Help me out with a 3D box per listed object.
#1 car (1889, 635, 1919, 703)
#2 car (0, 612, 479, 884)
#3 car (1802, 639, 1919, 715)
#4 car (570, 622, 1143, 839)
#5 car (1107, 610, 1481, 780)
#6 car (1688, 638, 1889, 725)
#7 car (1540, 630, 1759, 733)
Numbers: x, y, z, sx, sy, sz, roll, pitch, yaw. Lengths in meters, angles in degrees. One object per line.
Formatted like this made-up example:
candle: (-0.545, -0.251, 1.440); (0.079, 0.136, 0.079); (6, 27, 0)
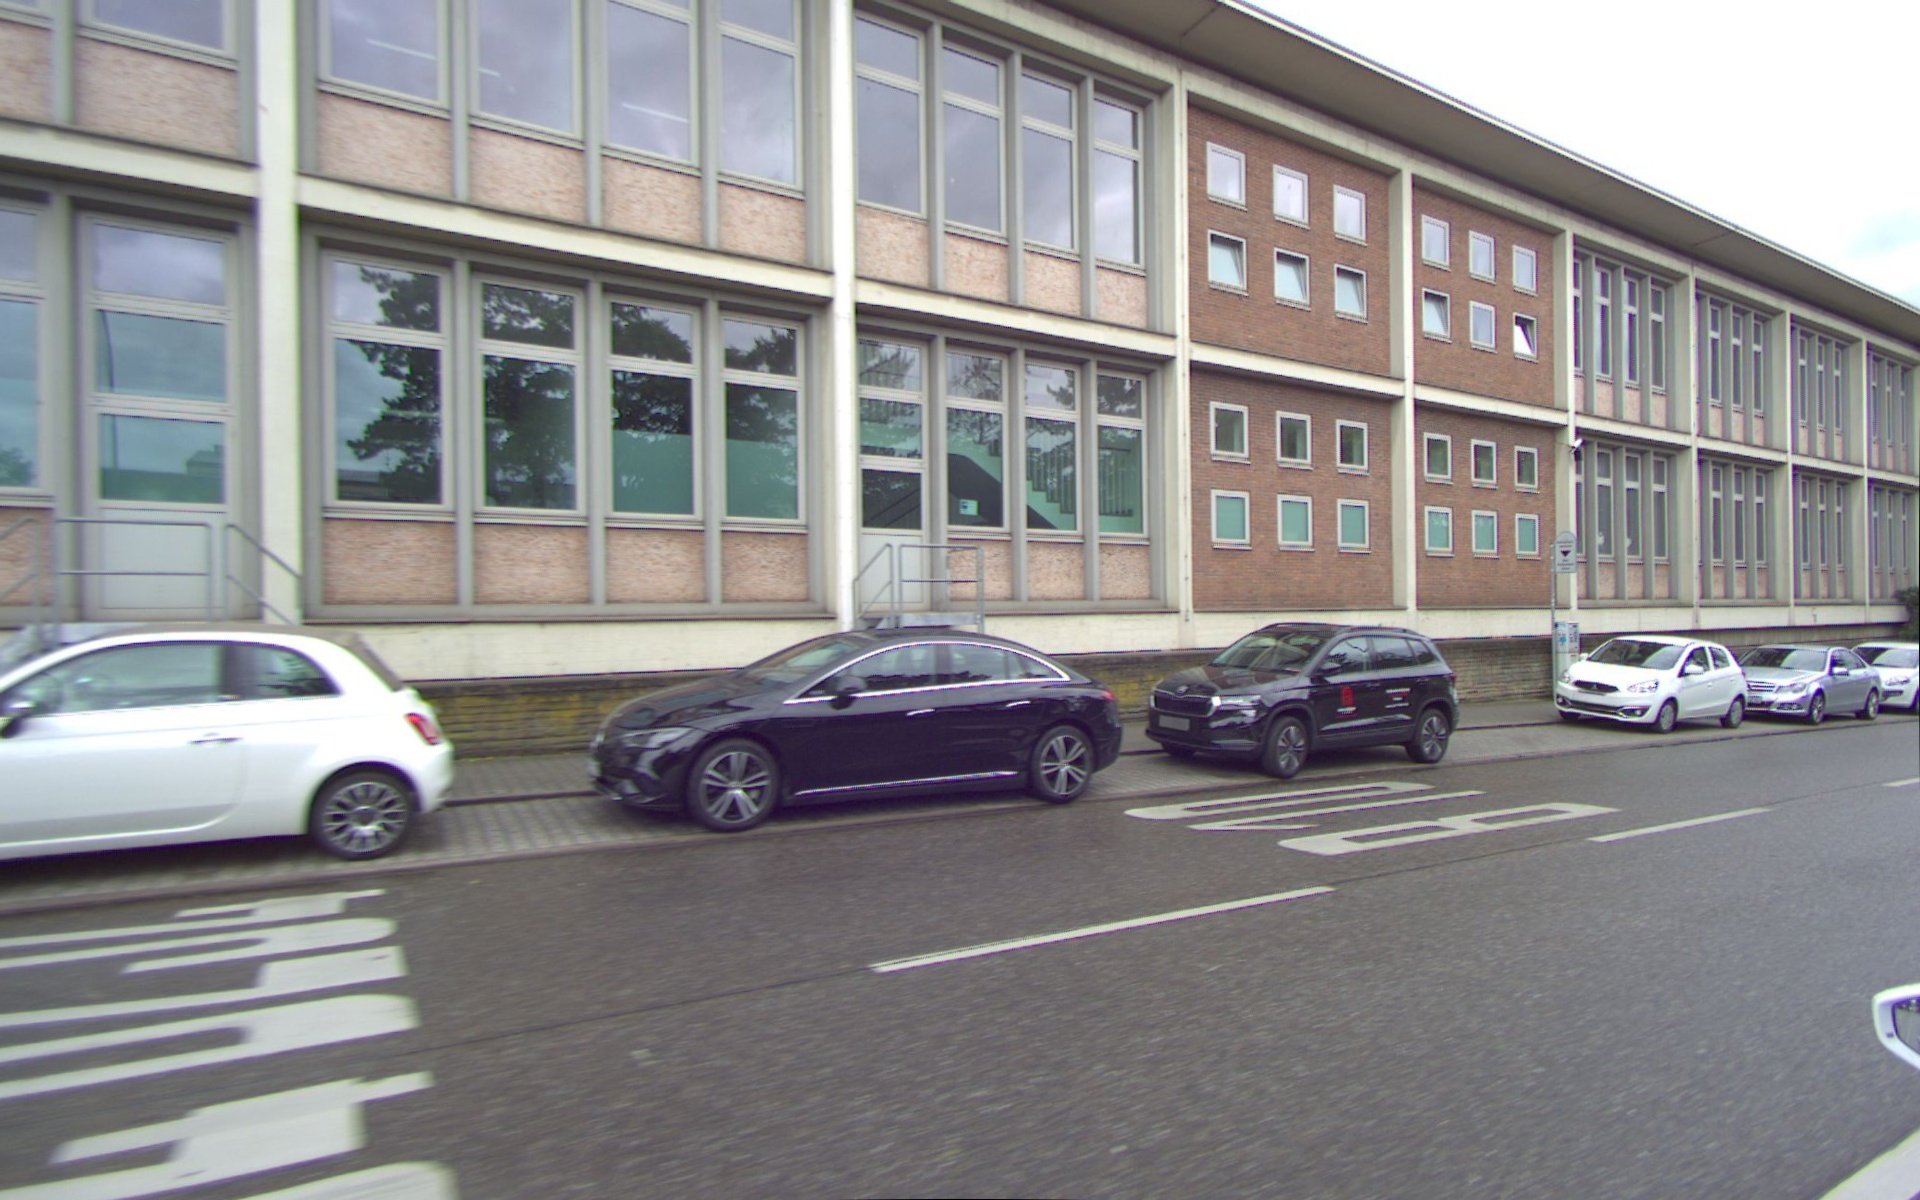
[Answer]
car: (25.397, 1.758, 25.393); (4.134, 1.619, 1.739); (2, 0, -31)
car: (-5.170, 0.842, 6.575); (3.512, 1.503, 1.558); (1, -1, -31)
car: (20.905, 1.677, 22.668); (4.135, 1.473, 1.738); (2, 0, -32)
car: (-0.799, 0.968, 9.055); (4.852, 1.503, 1.807); (1, -1, -31)
car: (4.104, 1.046, 12.119); (4.465, 1.675, 1.831); (2, 0, -32)
car: (16.345, 1.550, 19.768); (4.437, 1.454, 1.738); (2, 0, -32)
car: (11.895, 1.339, 17.282); (3.876, 1.543, 1.670); (2, -1, -31)
